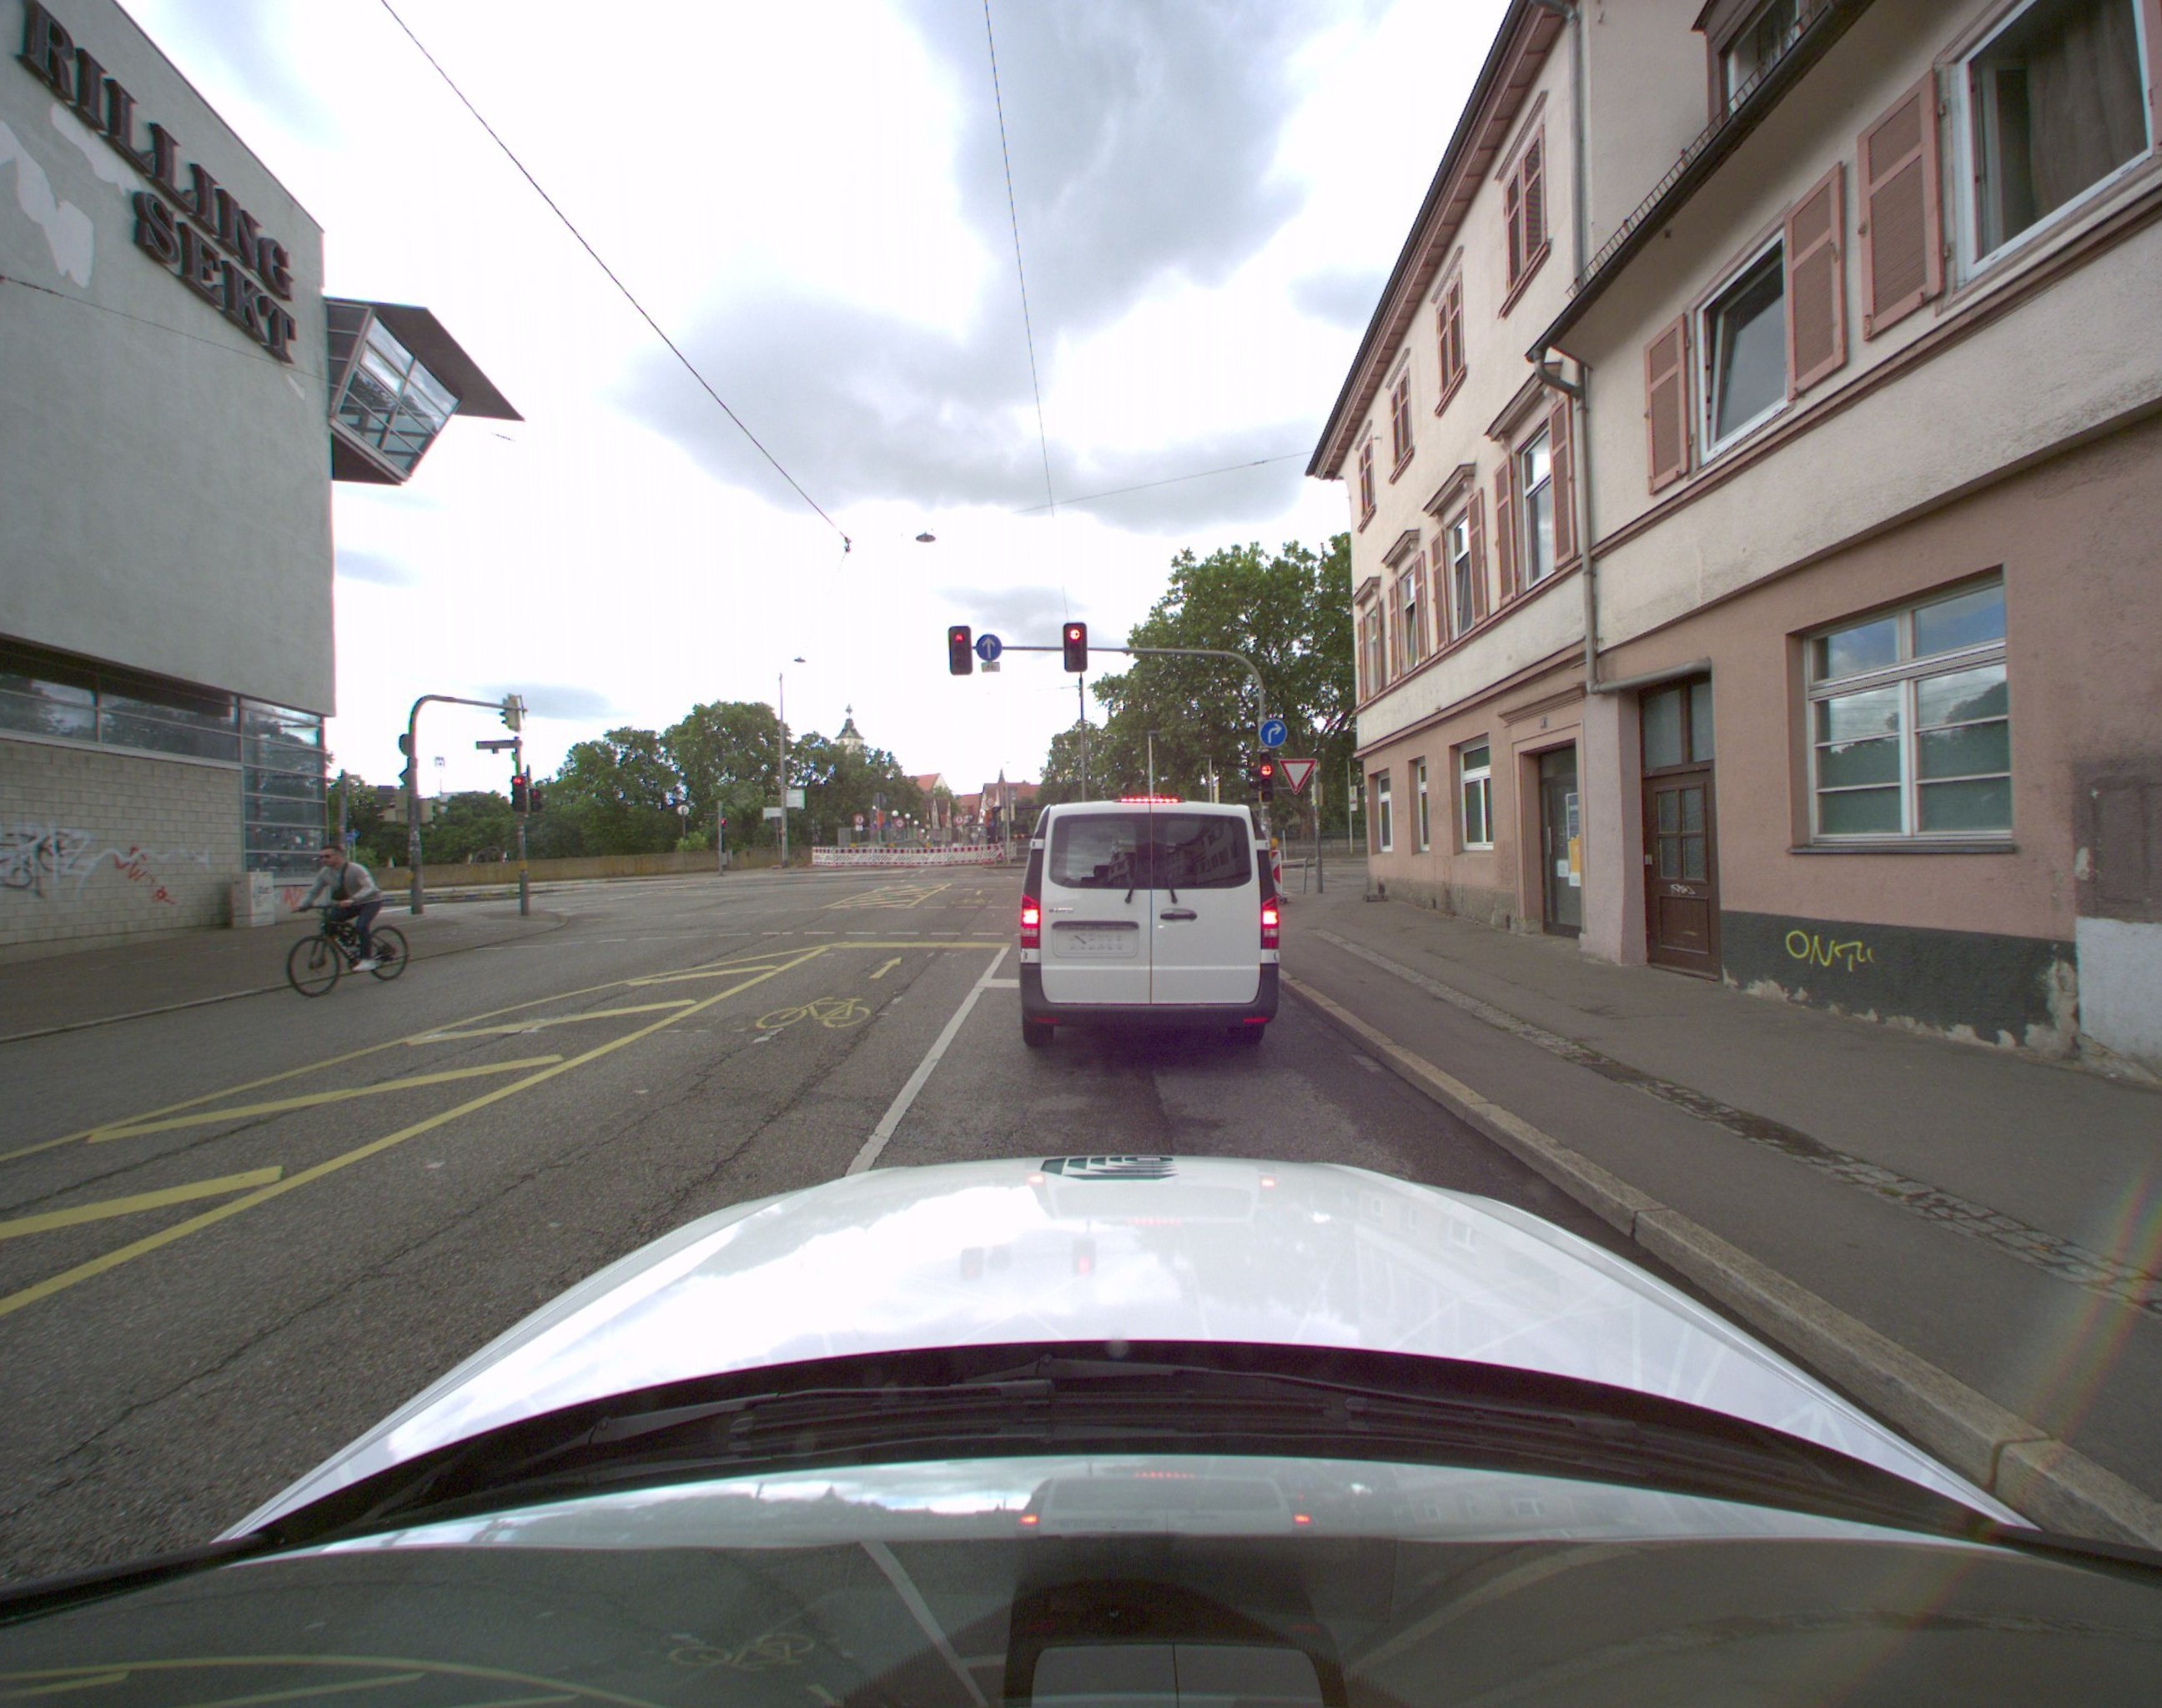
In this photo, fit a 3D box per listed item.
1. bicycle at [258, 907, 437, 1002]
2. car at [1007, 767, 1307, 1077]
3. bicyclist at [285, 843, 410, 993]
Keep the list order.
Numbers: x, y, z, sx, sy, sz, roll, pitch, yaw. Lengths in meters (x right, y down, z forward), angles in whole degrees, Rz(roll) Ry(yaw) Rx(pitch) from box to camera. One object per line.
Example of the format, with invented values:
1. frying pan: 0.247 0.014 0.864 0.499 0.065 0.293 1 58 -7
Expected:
1. bicycle: -8.784 1.158 9.868 0.540 0.892 1.877 -2 0 -4
2. car: 0.573 0.393 7.670 1.943 2.013 4.700 0 1 2
3. bicyclist: -8.814 0.734 9.821 0.722 1.701 0.810 -2 0 -4
